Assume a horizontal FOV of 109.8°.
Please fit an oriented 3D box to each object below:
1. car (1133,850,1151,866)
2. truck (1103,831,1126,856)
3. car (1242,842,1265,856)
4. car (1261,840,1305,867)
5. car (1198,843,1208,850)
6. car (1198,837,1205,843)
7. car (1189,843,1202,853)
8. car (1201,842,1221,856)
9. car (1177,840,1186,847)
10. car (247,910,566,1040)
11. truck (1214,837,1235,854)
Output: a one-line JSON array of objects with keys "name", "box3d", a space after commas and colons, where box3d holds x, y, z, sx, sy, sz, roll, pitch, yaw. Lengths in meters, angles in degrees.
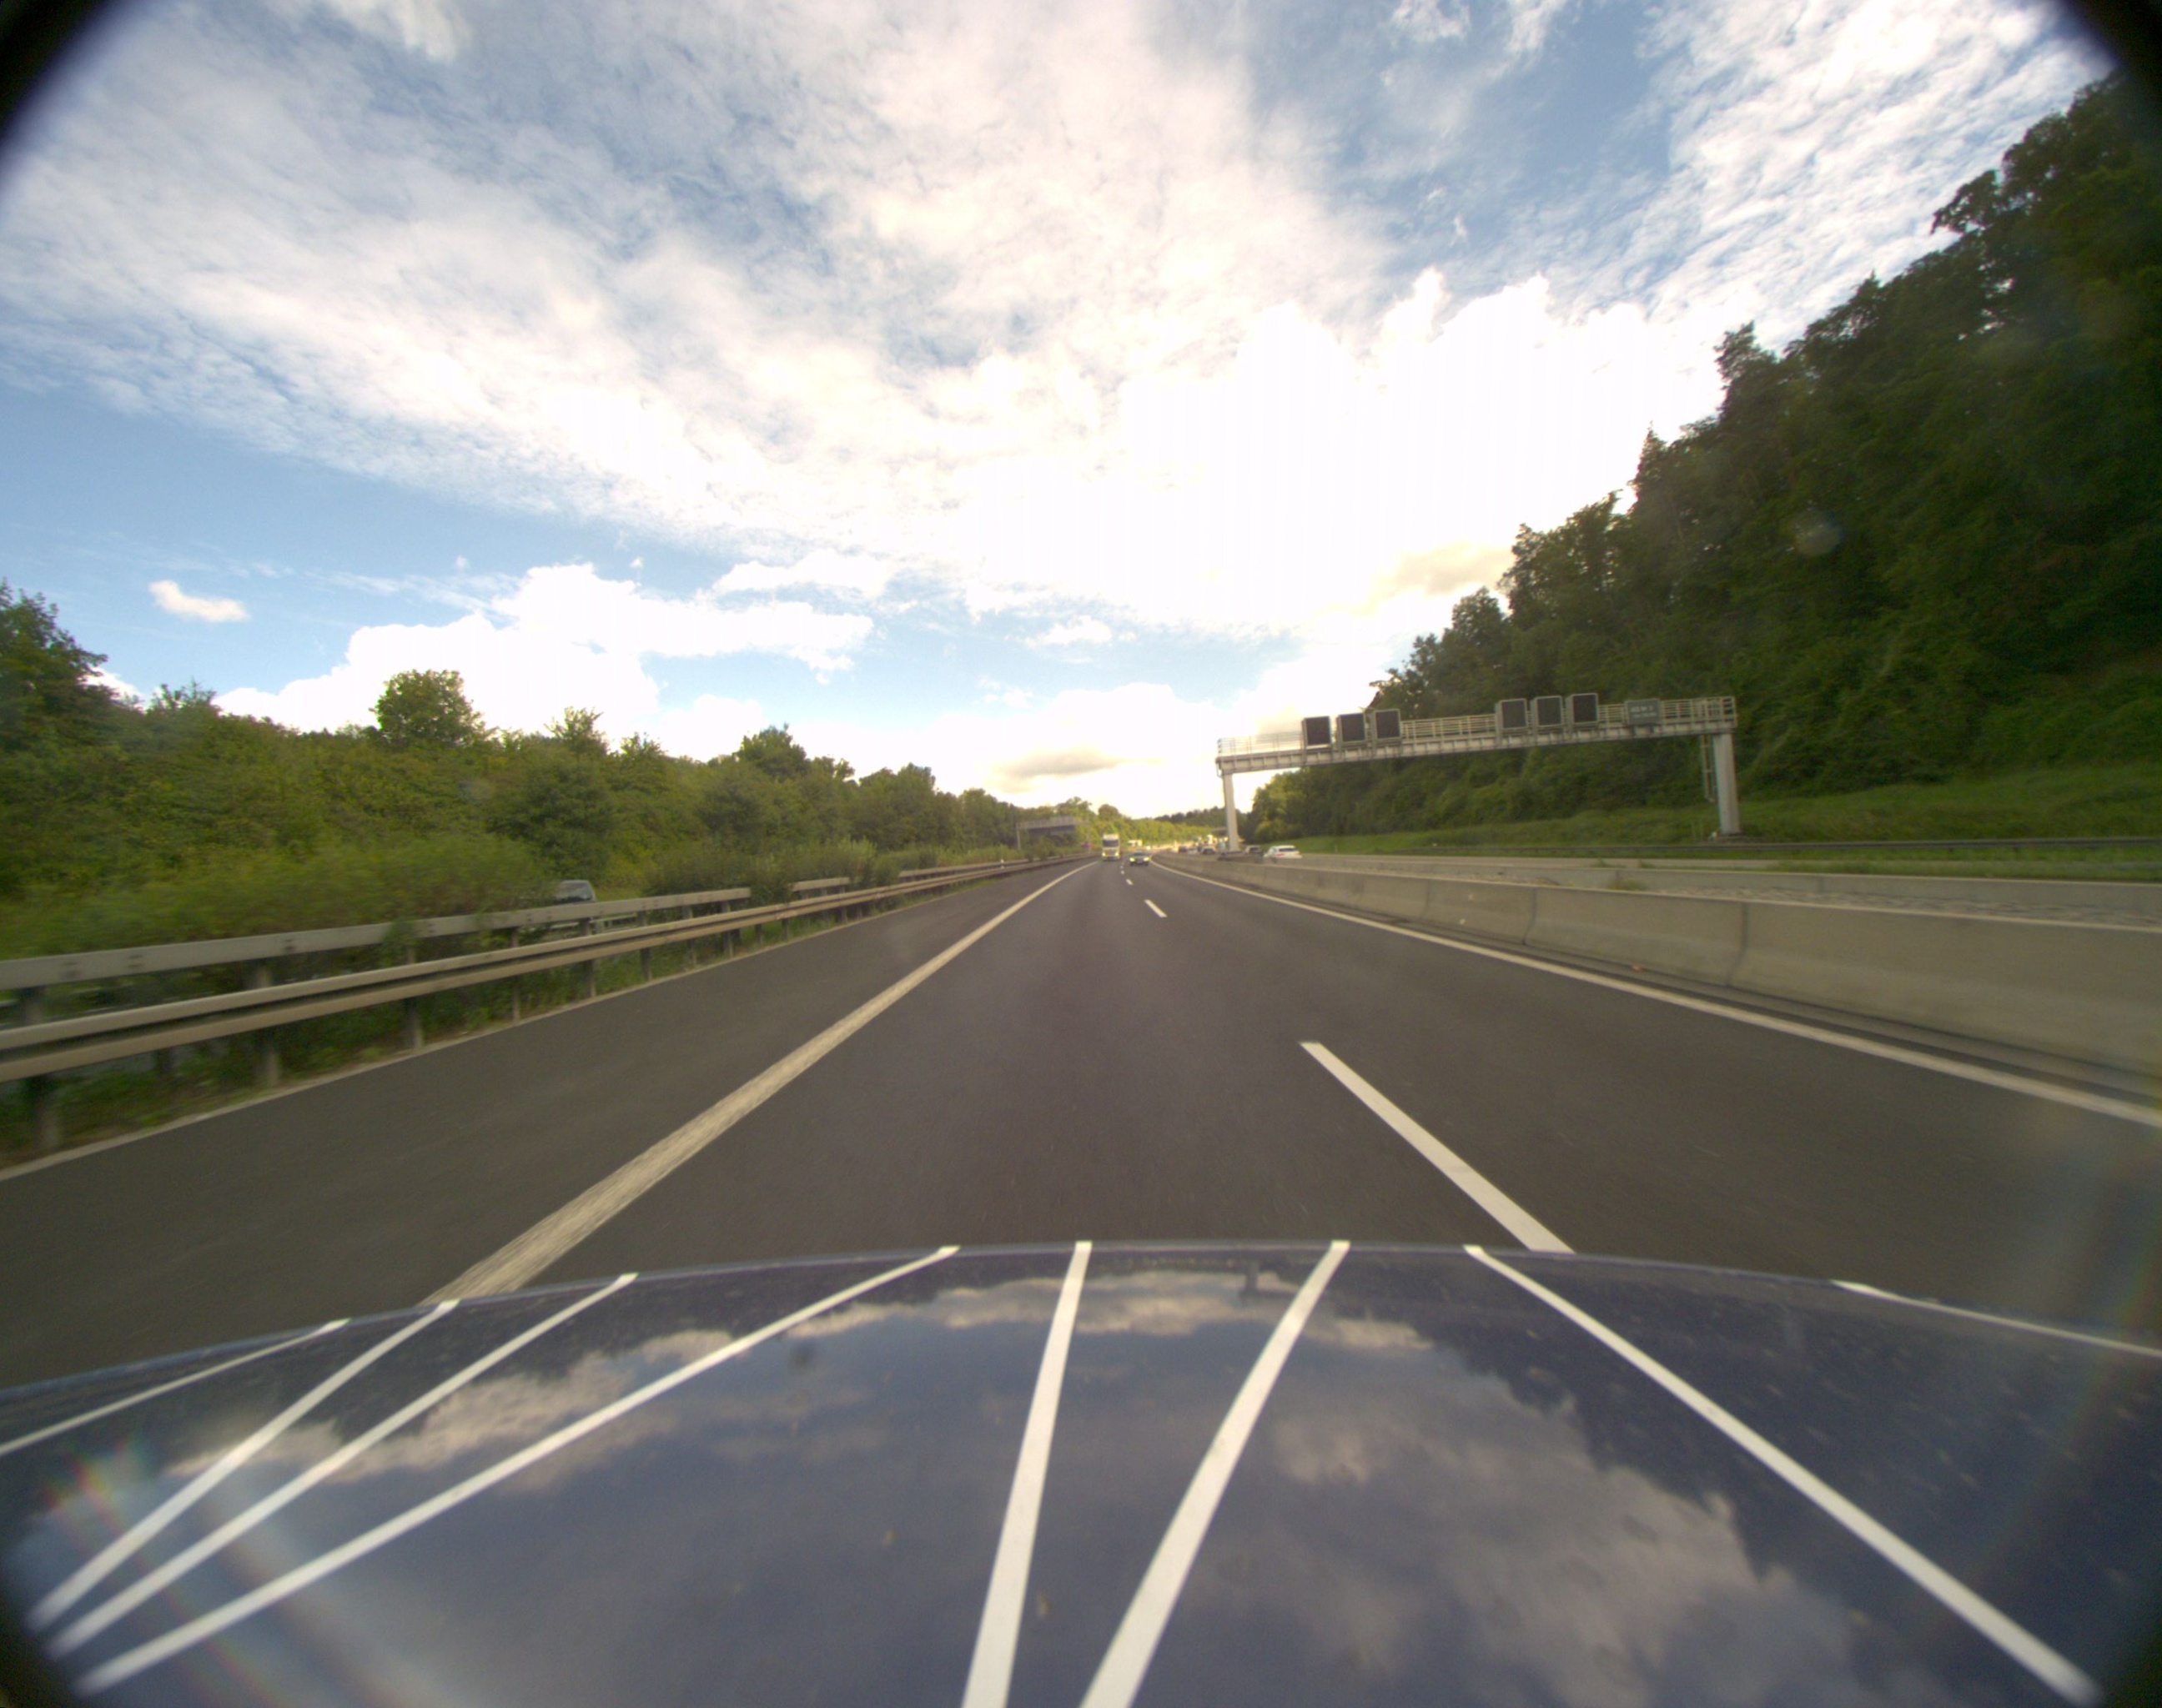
[{"name": "car", "box3d": [6.304, 0.381, 78.113, 1.662, 1.464, 4.001, -2, 1, 5]}, {"name": "truck", "box3d": [5.362, -1.741, 118.933, 2.795, 3.562, 11.460, -2, 1, 6]}, {"name": "car", "box3d": [18.866, -0.536, 83.121, 1.669, 1.387, 4.601, -2, 1, 3]}, {"name": "car", "box3d": [13.376, -0.057, 50.498, 1.768, 1.572, 4.932, -3, 0, 3]}, {"name": "car", "box3d": [29.834, -1.815, 185.951, 1.998, 1.530, 4.741, -3, 0, 6]}, {"name": "car", "box3d": [39.983, -4.650, 252.605, 1.997, 2.002, 4.779, -2, 1, 7]}, {"name": "car", "box3d": [17.763, -0.965, 117.990, 1.568, 1.441, 3.889, -2, 1, 4]}, {"name": "car", "box3d": [16.377, -0.692, 96.106, 1.998, 1.631, 4.000, -2, 1, 3]}, {"name": "car", "box3d": [22.619, -2.339, 171.601, 1.703, 1.530, 4.501, -2, 1, 3]}, {"name": "car", "box3d": [-11.684, 1.989, 13.675, 1.788, 1.562, 4.344, -3, 0, 0]}, {"name": "truck", "box3d": [20.319, -1.181, 107.593, 2.189, 2.213, 5.571, -2, 1, 3]}]
